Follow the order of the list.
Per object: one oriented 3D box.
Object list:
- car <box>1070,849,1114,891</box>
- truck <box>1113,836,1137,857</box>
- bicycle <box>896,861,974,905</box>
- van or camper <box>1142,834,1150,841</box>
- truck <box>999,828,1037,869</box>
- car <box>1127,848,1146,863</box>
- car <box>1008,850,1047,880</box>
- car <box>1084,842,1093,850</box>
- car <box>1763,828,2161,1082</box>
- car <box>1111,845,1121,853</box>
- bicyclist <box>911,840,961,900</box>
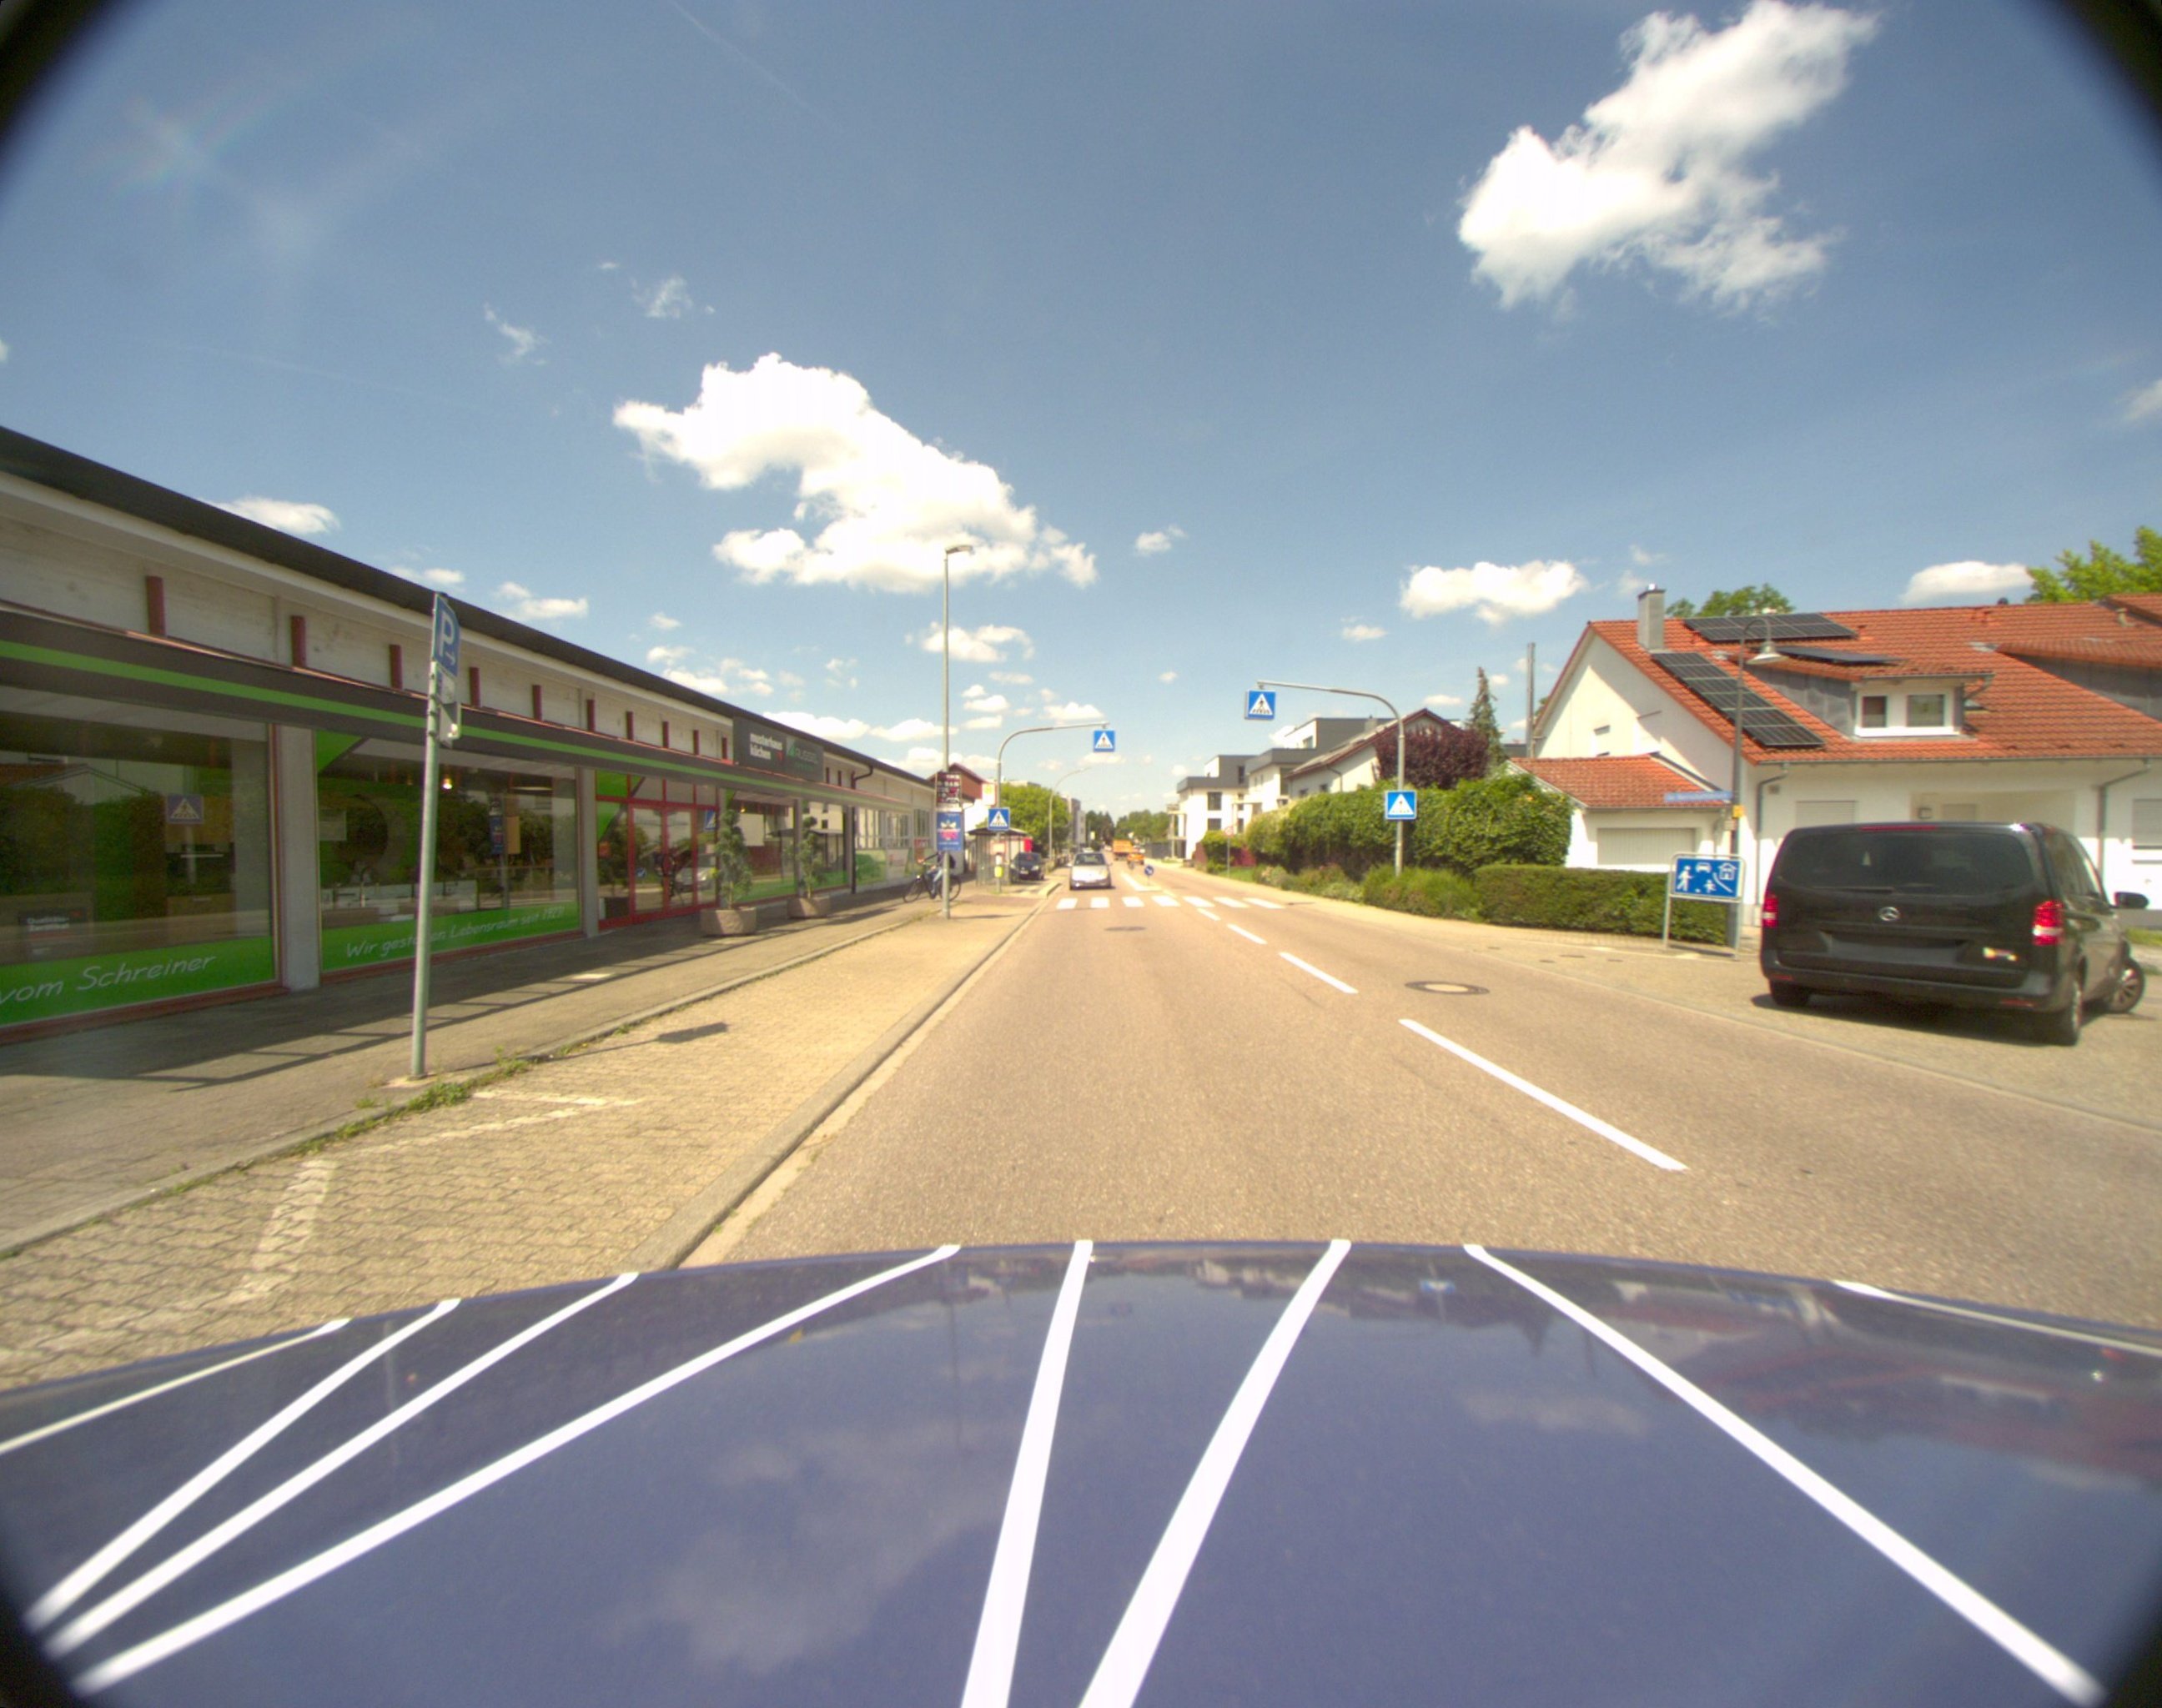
[{"bbox_3d":[0.466,0.631,32.238,1.723,1.590,3.759,-2,1,1],"label":"car"},{"bbox_3d":[5.945,-1.107,103.460,2.864,2.695,6.790,1,1,1],"label":"truck"},{"bbox_3d":[-4.074,0.790,21.268,1.947,1.158,0.803,1,1,-37],"label":"bicycle"},{"bbox_3d":[21.415,-5.532,249.713,1.994,2.217,4.453,1,1,16],"label":"van or camper"},{"bbox_3d":[-4.604,-0.429,55.504,2.580,2.746,6.331,1,1,-5],"label":"truck"},{"bbox_3d":[5.826,0.182,80.471,1.799,1.480,3.613,1,1,1],"label":"car"},{"bbox_3d":[-2.776,0.547,40.358,1.729,1.484,3.759,1,1,1],"label":"car"},{"bbox_3d":[1.505,-1.596,152.310,1.729,1.484,3.760,1,1,2],"label":"car"},{"bbox_3d":[9.104,0.734,7.721,5.079,1.841,1.994,1,1,-34],"label":"car"},{"bbox_3d":[6.365,-0.897,138.900,1.735,1.509,3.613,1,1,1],"label":"car"},{"bbox_3d":[-4.065,0.445,21.305,1.114,1.620,0.803,1,1,-37],"label":"bicyclist"}]
